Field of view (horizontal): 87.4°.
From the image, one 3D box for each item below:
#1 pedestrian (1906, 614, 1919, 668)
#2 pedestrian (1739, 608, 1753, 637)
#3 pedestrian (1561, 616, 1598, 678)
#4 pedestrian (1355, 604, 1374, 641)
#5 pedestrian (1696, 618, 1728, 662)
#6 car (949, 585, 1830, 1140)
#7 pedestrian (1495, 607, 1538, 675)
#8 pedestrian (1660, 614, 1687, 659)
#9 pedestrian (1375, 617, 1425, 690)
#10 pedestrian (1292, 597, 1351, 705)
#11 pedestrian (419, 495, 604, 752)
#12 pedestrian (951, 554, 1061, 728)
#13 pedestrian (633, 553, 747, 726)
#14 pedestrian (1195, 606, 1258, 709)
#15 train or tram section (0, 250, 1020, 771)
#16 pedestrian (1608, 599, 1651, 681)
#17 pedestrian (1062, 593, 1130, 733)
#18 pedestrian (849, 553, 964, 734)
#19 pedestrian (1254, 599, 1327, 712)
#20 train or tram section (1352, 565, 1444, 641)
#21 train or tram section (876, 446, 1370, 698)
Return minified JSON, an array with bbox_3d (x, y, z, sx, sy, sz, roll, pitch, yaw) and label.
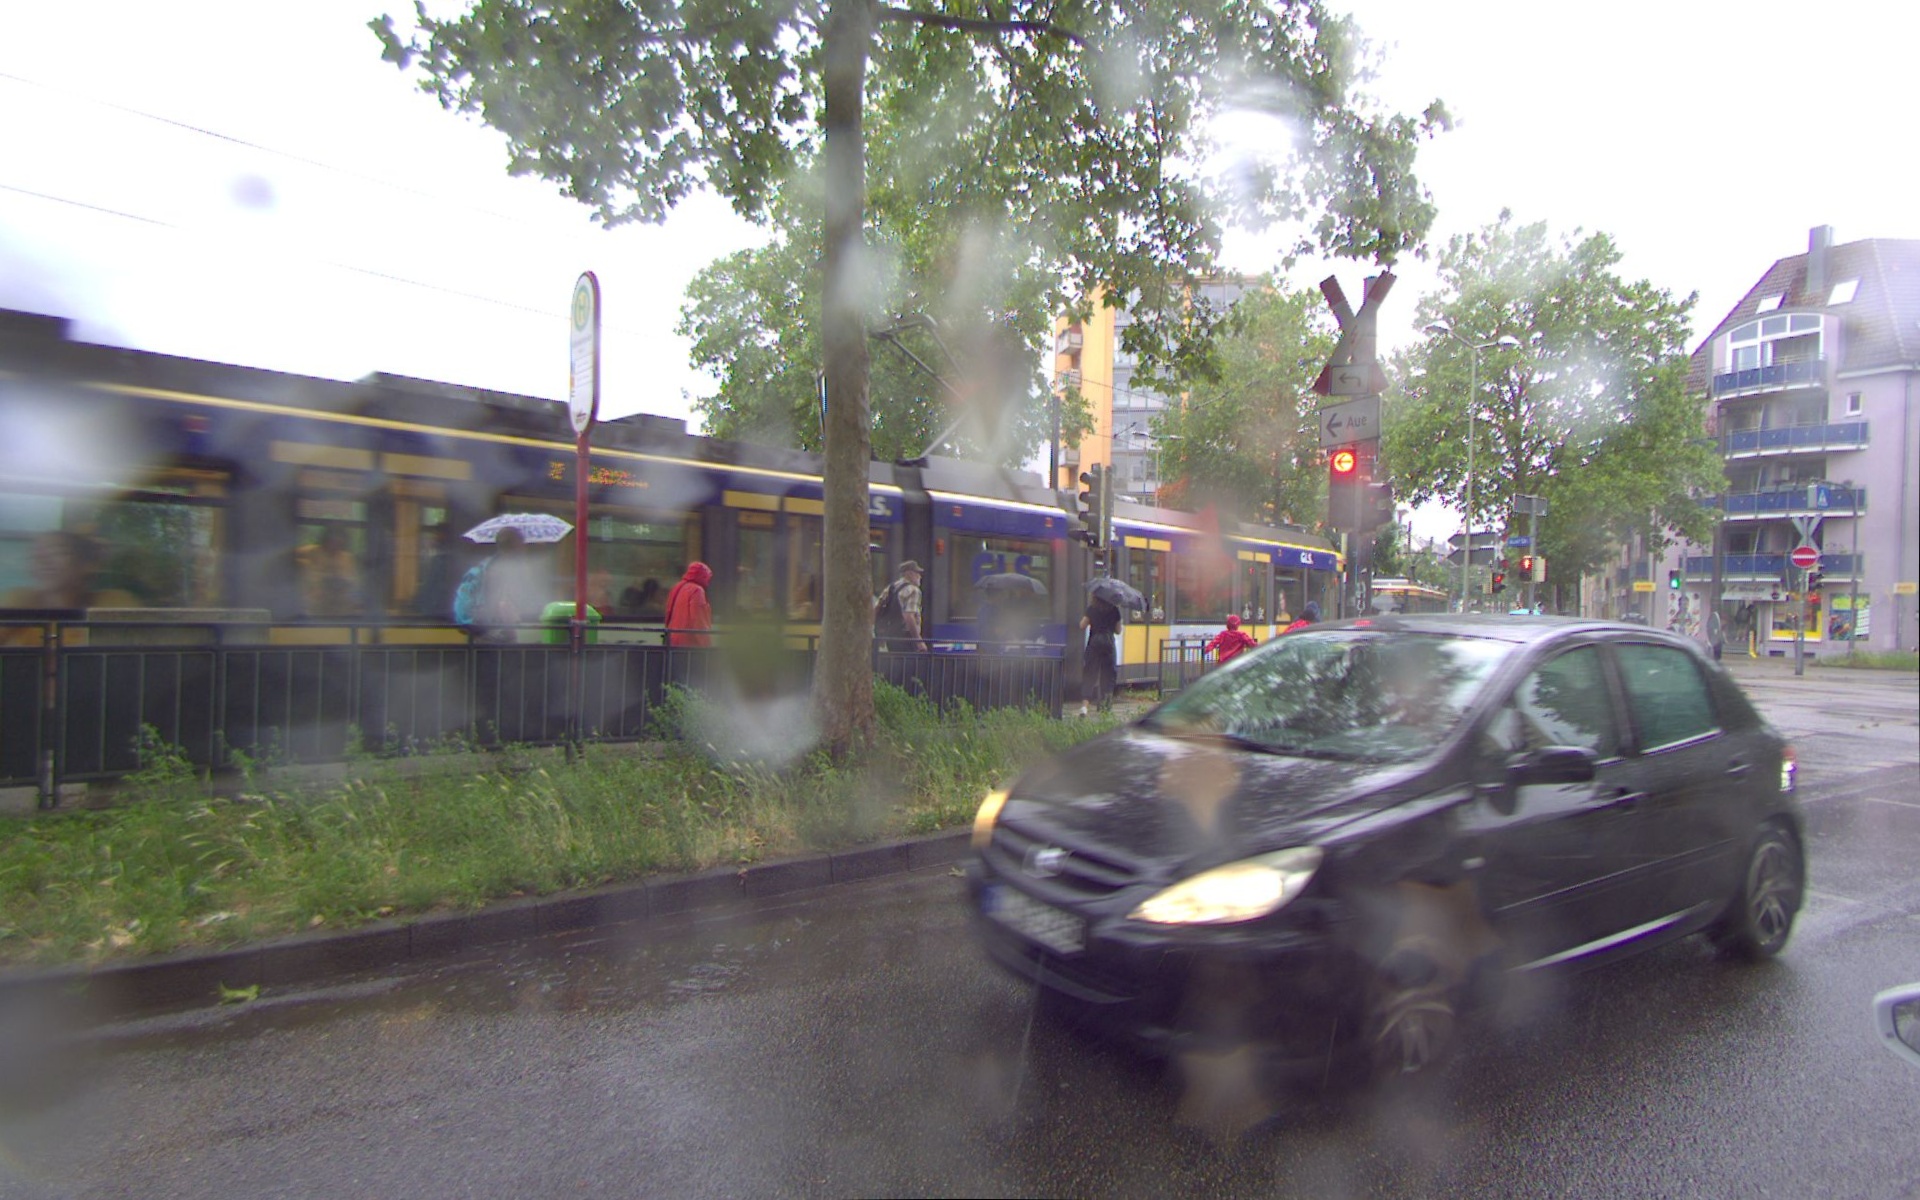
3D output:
[{"bbox_3d":[38.787,1.658,40.412,0.896,2.179,0.884,2,0,34],"label":"pedestrian"},{"bbox_3d":[36.960,1.045,47.238,0.439,1.347,0.558,2,0,43],"label":"pedestrian"},{"bbox_3d":[14.683,1.101,23.809,0.638,1.414,0.782,1,0,26],"label":"pedestrian"},{"bbox_3d":[24.613,1.354,61.121,0.871,2.179,0.910,2,0,29],"label":"pedestrian"},{"bbox_3d":[27.626,1.461,36.891,0.785,1.553,0.743,2,0,-41],"label":"pedestrian"},{"bbox_3d":[1.982,0.742,4.385,3.706,1.479,1.705,2,0,-32],"label":"car"},{"bbox_3d":[15.229,1.114,27.477,0.943,1.789,0.951,2,0,31],"label":"pedestrian"},{"bbox_3d":[26.468,1.355,37.260,0.666,1.622,0.962,2,0,45],"label":"pedestrian"},{"bbox_3d":[8.507,1.017,19.427,0.704,1.367,0.650,1,1,-44],"label":"pedestrian"},{"bbox_3d":[5.935,0.827,16.529,0.823,1.721,0.689,-2,0,17],"label":"pedestrian"},{"bbox_3d":[-3.547,0.174,7.945,1.068,1.851,0.974,-1,0,-41],"label":"pedestrian"},{"bbox_3d":[0.530,0.447,11.568,0.885,1.889,0.861,1,1,-41],"label":"pedestrian"},{"bbox_3d":[-2.595,0.374,9.677,0.783,1.593,0.659,-2,0,24],"label":"pedestrian"},{"bbox_3d":[4.122,0.874,15.538,0.654,1.540,0.675,1,0,-42],"label":"pedestrian"},{"bbox_3d":[-5.611,-0.582,9.910,15.271,3.593,2.831,2,0,-44],"label":"train or tram section"},{"bbox_3d":[15.894,0.932,23.851,0.777,1.880,0.679,2,1,37],"label":"pedestrian"},{"bbox_3d":[1.722,0.780,12.725,0.782,1.705,0.660,-2,0,8],"label":"pedestrian"},{"bbox_3d":[-0.563,0.429,10.500,0.824,1.778,0.857,1,1,-41],"label":"pedestrian"},{"bbox_3d":[4.993,0.810,15.190,0.809,1.646,0.724,0,0,-37],"label":"pedestrian"},{"bbox_3d":[25.930,0.303,58.733,2.839,3.818,17.211,2,0,30],"label":"train or tram section"},{"bbox_3d":[4.294,-0.296,20.307,2.828,3.593,13.640,2,0,42],"label":"train or tram section"}]
